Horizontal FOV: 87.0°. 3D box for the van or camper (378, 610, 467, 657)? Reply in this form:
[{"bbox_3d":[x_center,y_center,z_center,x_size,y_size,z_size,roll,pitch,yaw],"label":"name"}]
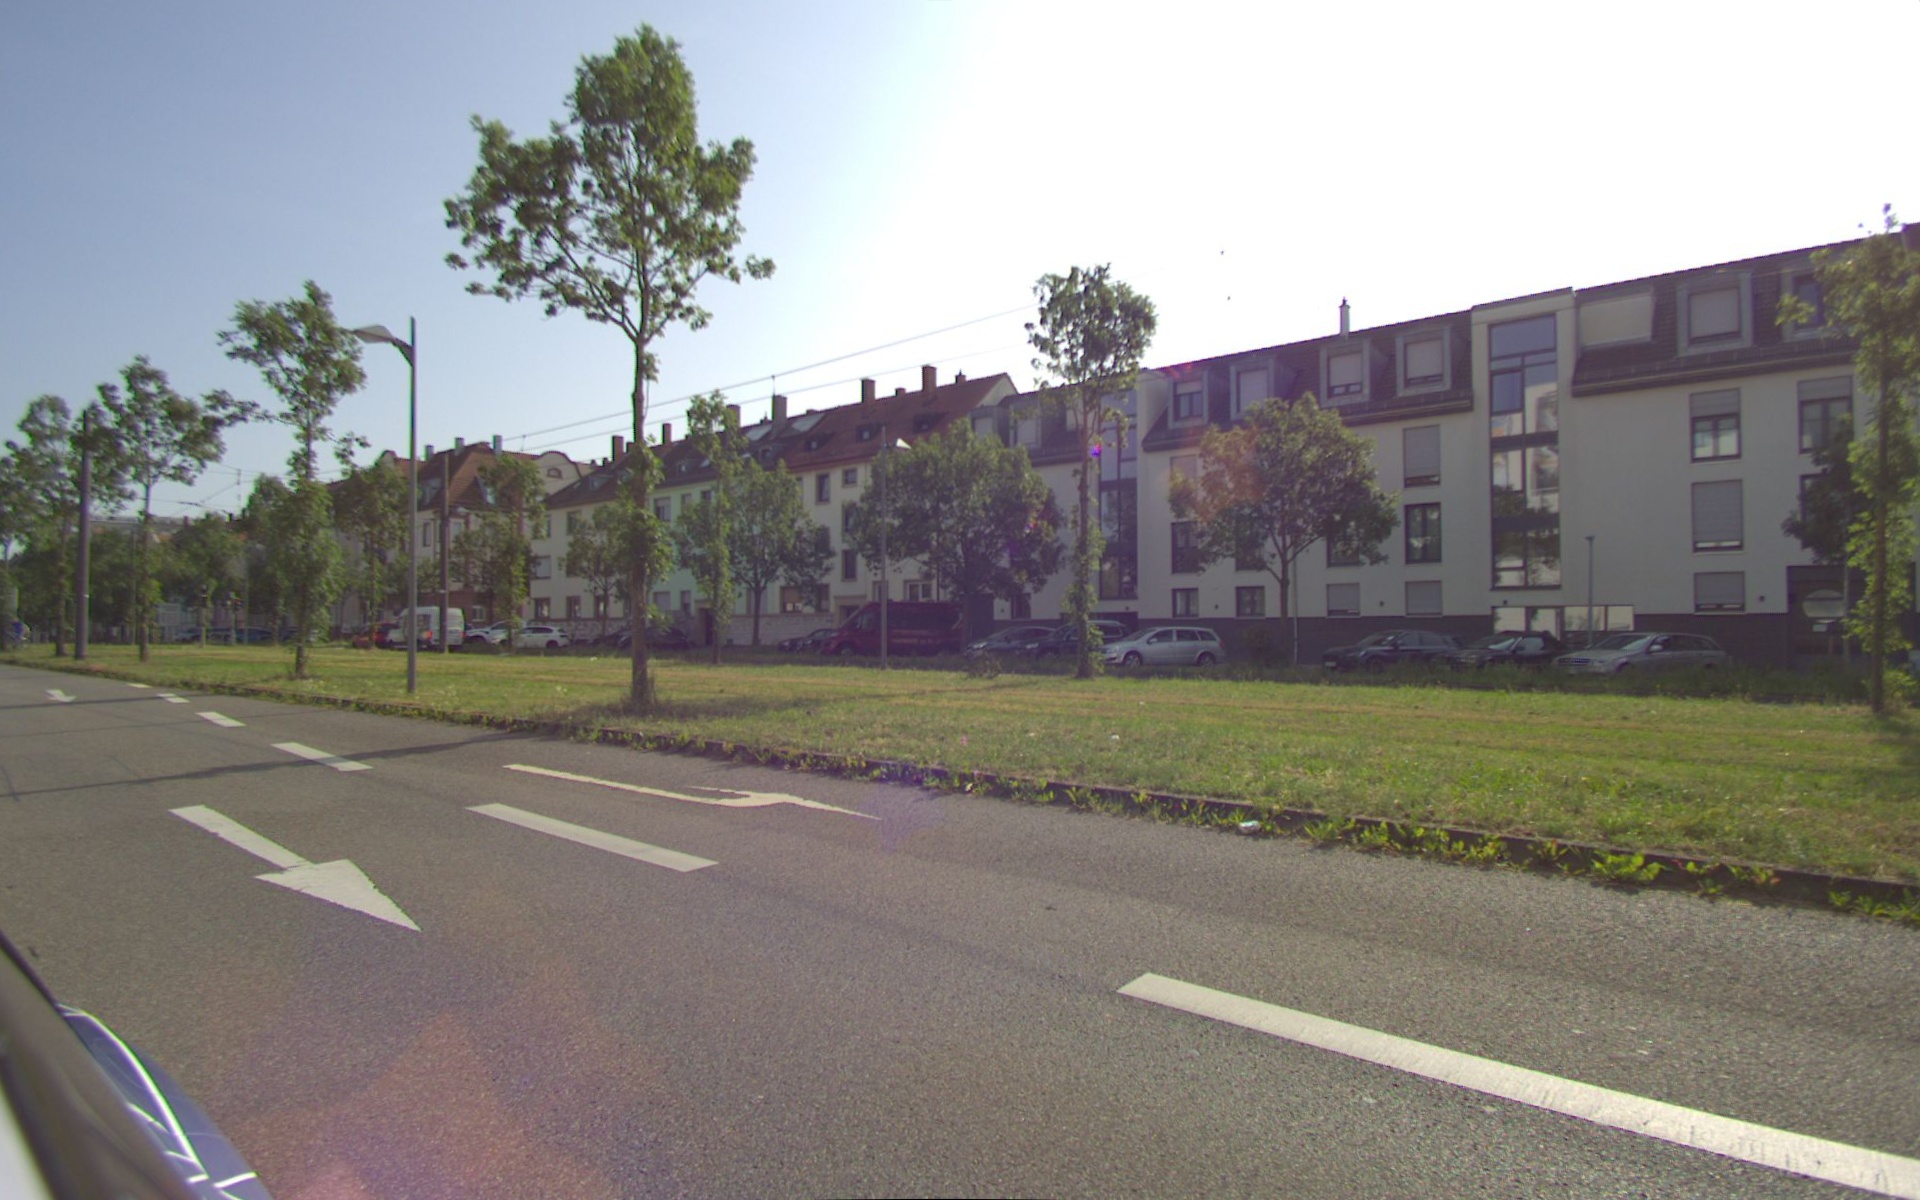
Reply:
[{"bbox_3d":[-30.150,1.907,56.690,6.052,2.493,2.120,-2,-4,39],"label":"van or camper"}]

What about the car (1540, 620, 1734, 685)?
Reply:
[{"bbox_3d":[16.630,1.228,24.847,4.265,1.386,2.007,-1,0,-25],"label":"car"}]

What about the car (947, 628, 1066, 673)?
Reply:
[{"bbox_3d":[1.678,1.809,36.986,3.932,1.431,1.787,-1,0,-16],"label":"car"}]

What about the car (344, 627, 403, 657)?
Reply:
[{"bbox_3d":[-35.473,2.518,61.166,4.158,1.751,1.797,-2,-4,41],"label":"car"}]

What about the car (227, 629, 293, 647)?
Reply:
[{"bbox_3d":[-62.758,3.425,90.816,4.438,1.451,2.006,-1,0,-19],"label":"car"}]

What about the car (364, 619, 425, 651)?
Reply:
[{"bbox_3d":[-49.473,3.038,88.458,6.498,2.583,2.326,-1,-1,38],"label":"car"}]

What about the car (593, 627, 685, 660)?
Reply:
[{"bbox_3d":[-16.260,2.187,51.444,4.279,1.541,2.005,-1,0,-11],"label":"car"}]

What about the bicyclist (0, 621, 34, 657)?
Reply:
[{"bbox_3d":[-50.774,2.071,54.502,1.168,1.864,0.913,-1,-1,-33],"label":"bicyclist"}]

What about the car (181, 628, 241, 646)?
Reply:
[{"bbox_3d":[-74.919,3.730,101.287,4.423,1.617,2.007,-1,0,-22],"label":"car"}]

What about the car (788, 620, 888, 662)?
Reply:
[{"bbox_3d":[-5.258,1.733,43.529,4.084,1.628,1.874,-1,2,-12],"label":"car"}]

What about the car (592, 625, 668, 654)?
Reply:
[{"bbox_3d":[-17.481,2.078,53.781,3.714,1.353,1.778,-1,0,-13],"label":"car"}]

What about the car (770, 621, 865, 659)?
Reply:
[{"bbox_3d":[-6.424,1.770,45.493,4.084,1.520,1.874,-1,2,-12],"label":"car"}]

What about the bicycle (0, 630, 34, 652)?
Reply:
[{"bbox_3d":[-50.967,2.196,54.362,1.763,1.154,0.578,-1,-1,-33],"label":"bicycle"}]

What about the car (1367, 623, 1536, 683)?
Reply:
[{"bbox_3d":[13.042,1.354,26.880,3.930,1.386,1.933,-1,0,-24],"label":"car"}]

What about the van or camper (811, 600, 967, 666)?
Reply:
[{"bbox_3d":[-2.949,1.307,41.614,6.058,2.566,2.421,0,-2,-14],"label":"van or camper"}]

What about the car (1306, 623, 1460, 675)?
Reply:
[{"bbox_3d":[12.093,1.371,28.945,3.930,1.386,1.842,0,-2,-24],"label":"car"}]

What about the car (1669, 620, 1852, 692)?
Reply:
[{"bbox_3d":[17.790,1.189,22.500,3.715,1.386,1.670,-1,0,-25],"label":"car"}]

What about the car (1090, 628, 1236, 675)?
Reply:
[{"bbox_3d":[6.595,1.629,32.900,4.324,1.330,1.739,-1,-1,-18],"label":"car"}]

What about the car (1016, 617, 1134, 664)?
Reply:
[{"bbox_3d":[3.938,1.362,34.759,3.658,1.445,1.647,-1,-1,-18],"label":"car"}]

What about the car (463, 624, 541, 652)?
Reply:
[{"bbox_3d":[-27.839,2.311,61.571,4.030,1.541,1.818,-1,0,-13],"label":"car"}]

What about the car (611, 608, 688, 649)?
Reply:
[{"bbox_3d":[-19.699,1.778,64.155,5.574,2.482,1.973,-2,-1,41],"label":"car"}]

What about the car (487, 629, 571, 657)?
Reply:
[{"bbox_3d":[-25.407,2.523,59.823,4.294,1.486,1.862,-1,0,-13],"label":"car"}]
